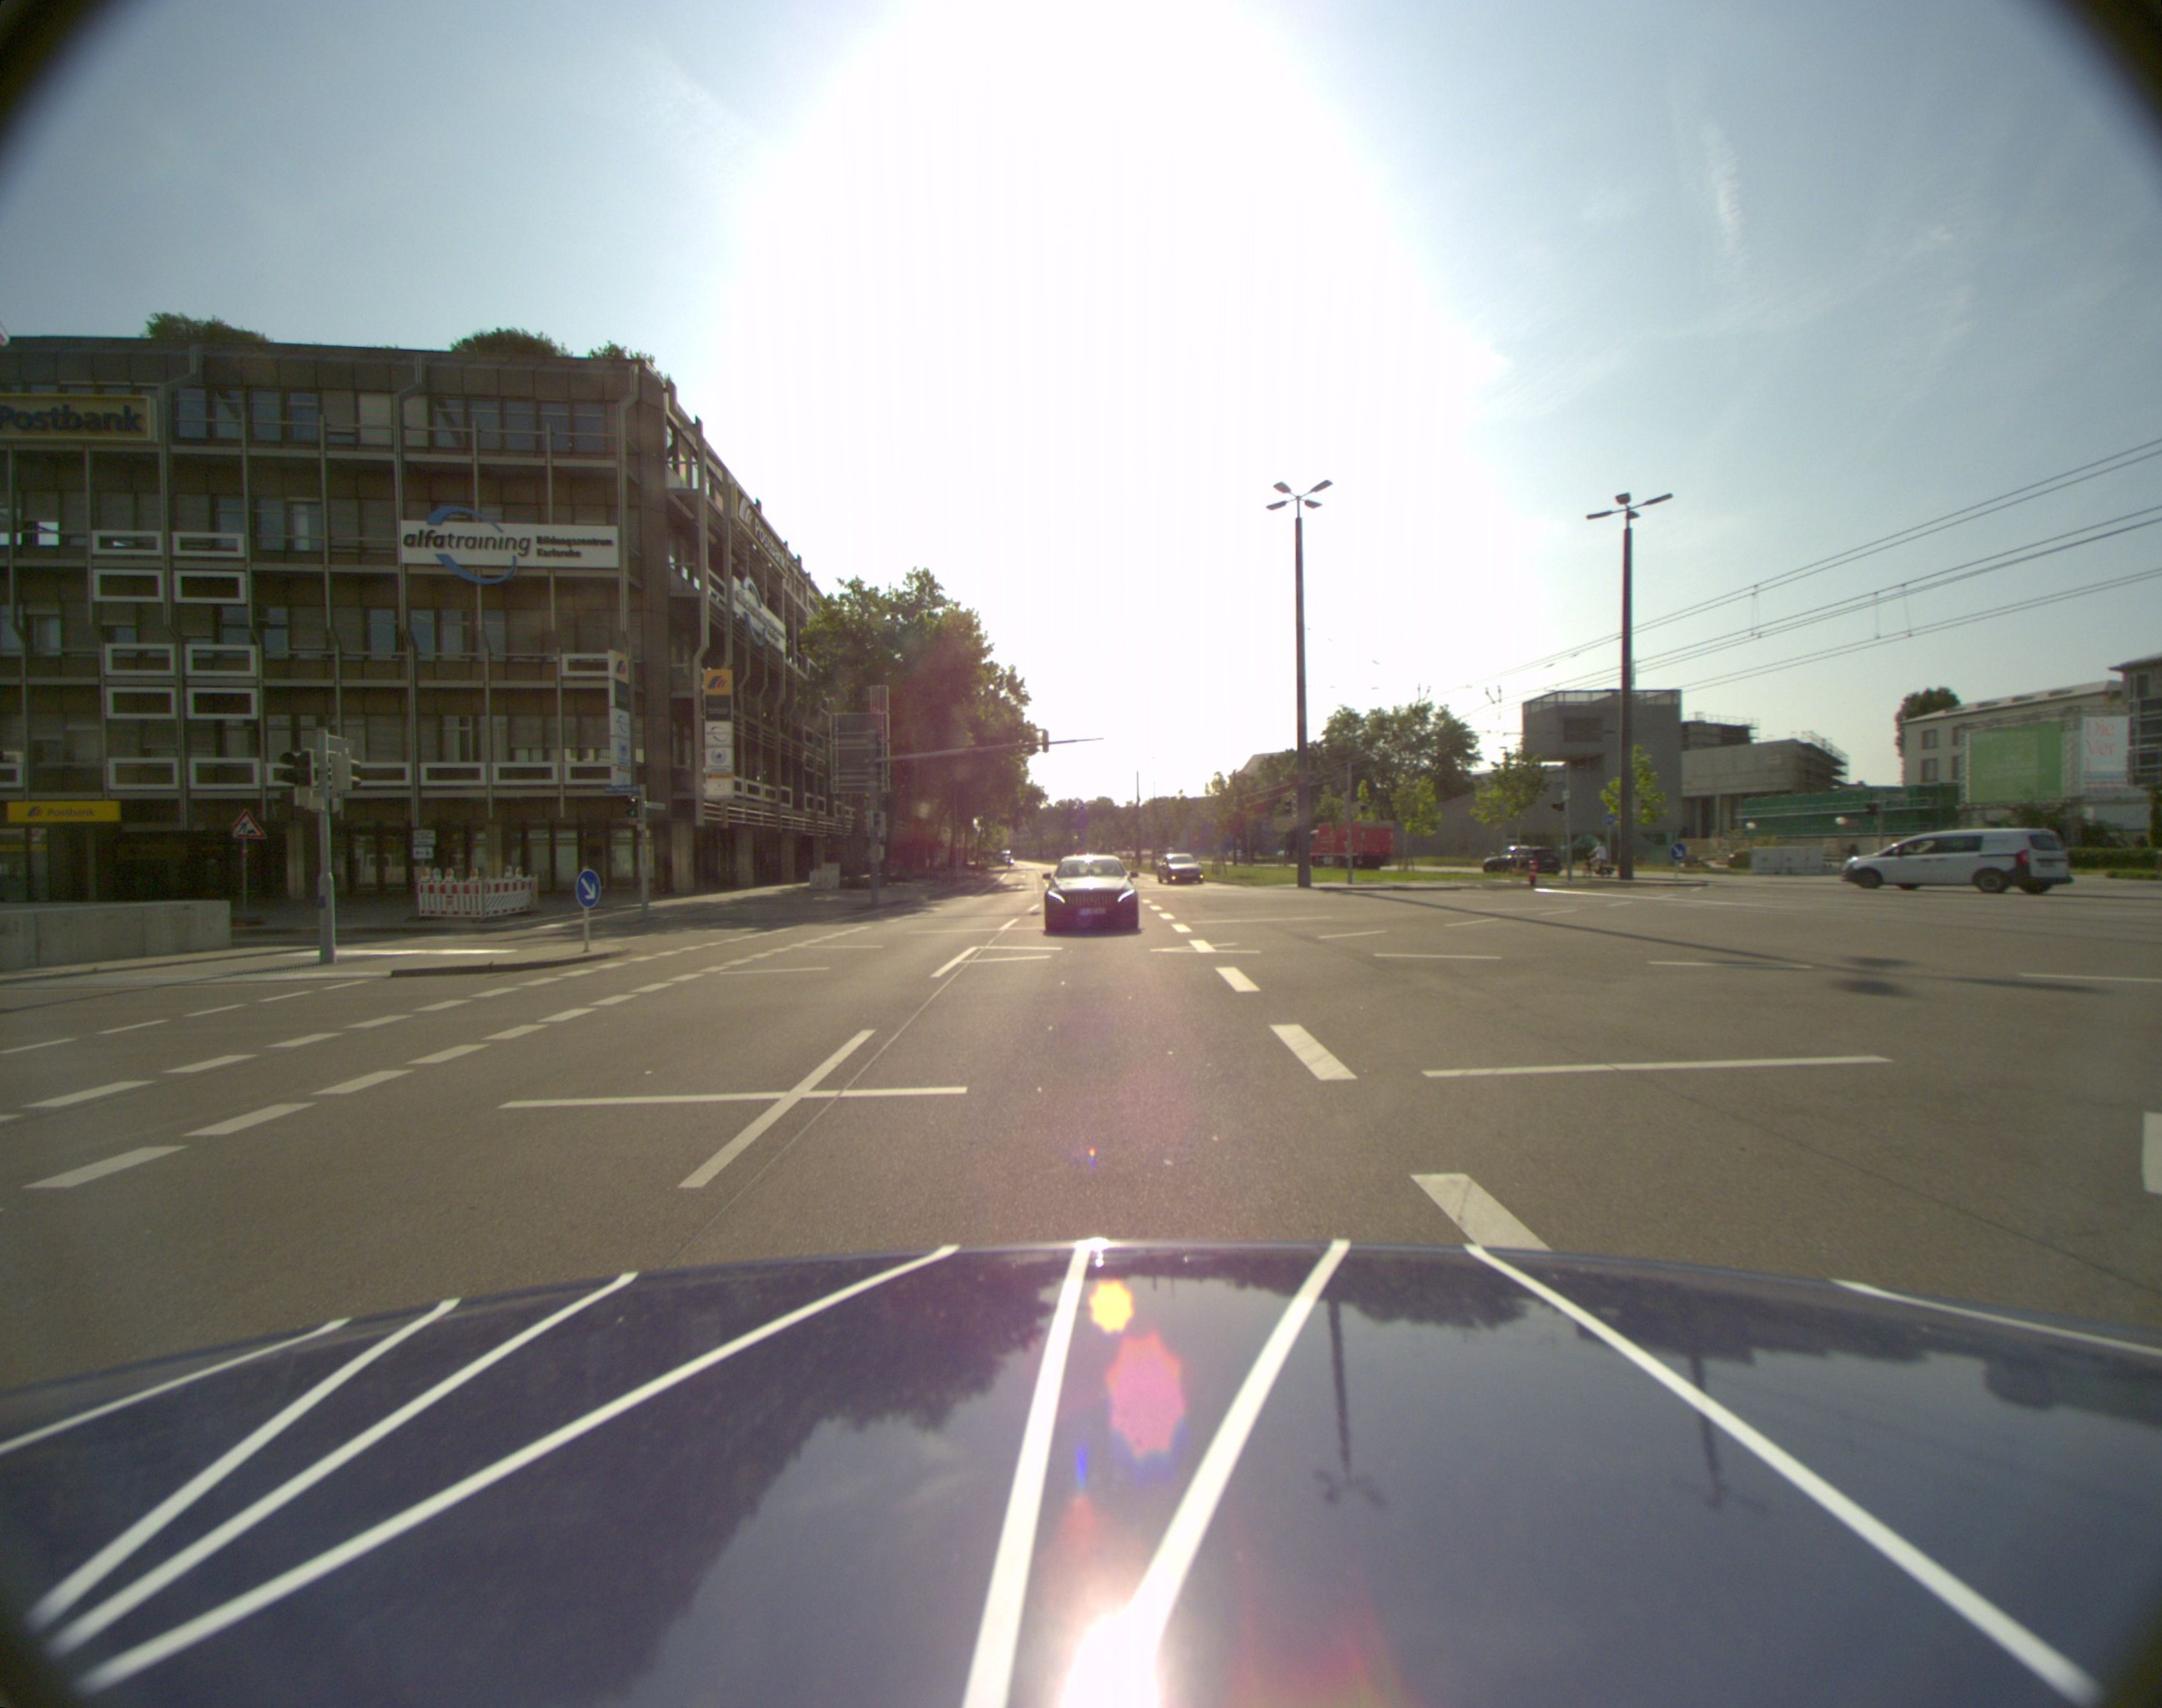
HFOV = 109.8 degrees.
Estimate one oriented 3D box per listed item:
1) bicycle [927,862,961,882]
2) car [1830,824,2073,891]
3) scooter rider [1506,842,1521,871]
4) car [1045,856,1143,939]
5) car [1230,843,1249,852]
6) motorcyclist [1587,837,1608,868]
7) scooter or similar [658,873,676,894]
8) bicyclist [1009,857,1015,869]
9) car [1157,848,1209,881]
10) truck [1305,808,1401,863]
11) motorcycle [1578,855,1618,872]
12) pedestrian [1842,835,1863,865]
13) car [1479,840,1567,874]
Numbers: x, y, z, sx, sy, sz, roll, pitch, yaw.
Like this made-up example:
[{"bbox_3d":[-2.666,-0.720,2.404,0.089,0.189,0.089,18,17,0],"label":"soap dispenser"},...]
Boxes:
[{"bbox_3d":[-7.987,1.036,44.294,1.832,1.181,0.537,0,1,1],"label":"bicycle"},{"bbox_3d":[25.499,0.079,22.542,1.621,1.778,4.513,-1,1,-13],"label":"car"},{"bbox_3d":[25.022,0.143,43.940,0.539,1.688,0.549,-1,1,-9],"label":"scooter rider"},{"bbox_3d":[0.157,0.781,16.089,1.716,1.429,5.056,-2,0,-2],"label":"car"},{"bbox_3d":[31.994,-1.222,153.833,2.020,1.758,4.818,-1,1,-12],"label":"car"},{"bbox_3d":[26.081,-0.075,38.395,0.392,1.519,0.860,-1,1,-11],"label":"motorcyclist"},{"bbox_3d":[-17.536,1.250,32.201,0.279,0.838,0.959,-1,1,-4],"label":"scooter or similar"},{"bbox_3d":[-9.307,1.210,102.948,0.612,1.505,0.813,-1,1,-14],"label":"bicyclist"},{"bbox_3d":[4.889,0.491,36.923,1.709,1.424,3.868,-3,0,-3],"label":"car"},{"bbox_3d":[20.696,-1.325,58.609,2.980,3.787,10.417,-1,1,-4],"label":"truck"},{"bbox_3d":[26.077,0.470,38.377,0.521,0.828,1.820,-1,0,-11],"label":"motorcycle"},{"bbox_3d":[42.709,-0.220,42.048,0.607,1.687,0.538,-1,1,0],"label":"pedestrian"},{"bbox_3d":[22.474,0.142,38.817,1.645,1.592,3.996,-1,1,-11],"label":"car"}]
